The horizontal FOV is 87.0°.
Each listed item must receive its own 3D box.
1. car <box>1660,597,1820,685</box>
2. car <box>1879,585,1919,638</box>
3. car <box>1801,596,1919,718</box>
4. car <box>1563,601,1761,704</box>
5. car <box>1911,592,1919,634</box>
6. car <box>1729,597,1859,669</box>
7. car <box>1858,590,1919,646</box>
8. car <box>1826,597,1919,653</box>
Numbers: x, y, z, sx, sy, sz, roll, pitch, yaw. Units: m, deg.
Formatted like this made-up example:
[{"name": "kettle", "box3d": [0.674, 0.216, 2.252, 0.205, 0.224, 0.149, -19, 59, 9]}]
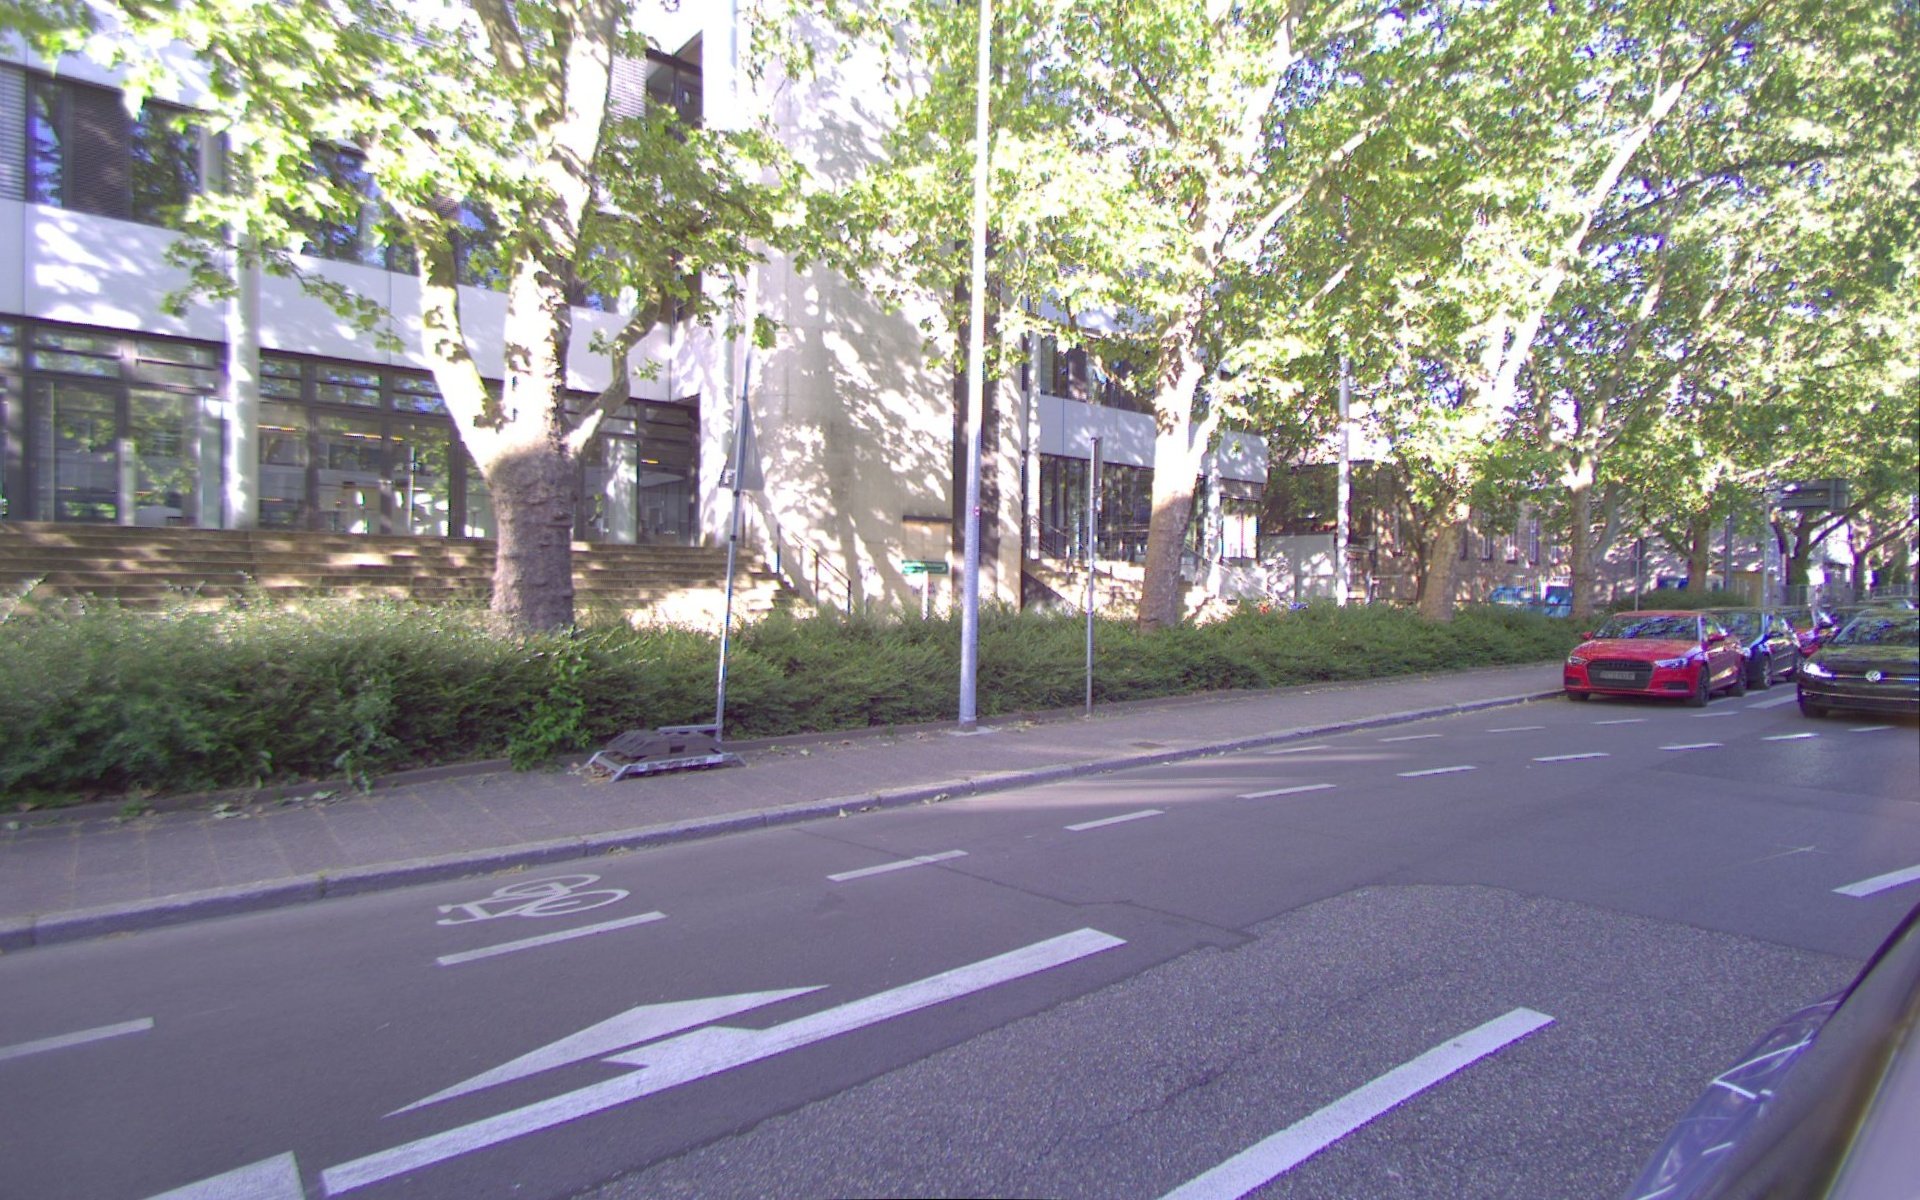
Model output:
[{"name": "car", "box3d": [14.806, 0.700, 19.141, 3.930, 1.485, 1.684, 0, 0, -41]}, {"name": "car", "box3d": [33.966, 0.384, 35.704, 4.354, 1.790, 1.818, 0, 1, -41]}, {"name": "car", "box3d": [12.852, 0.673, 13.408, 3.828, 1.459, 1.695, 0, 0, -35]}, {"name": "car", "box3d": [11.242, 0.751, 16.114, 3.962, 1.439, 1.722, 0, -2, -42]}, {"name": "car", "box3d": [38.704, 0.504, 39.721, 3.801, 1.581, 1.684, 0, 1, -41]}, {"name": "car", "box3d": [18.608, 0.670, 22.536, 3.715, 1.452, 1.664, 0, 1, -41]}, {"name": "car", "box3d": [29.512, 0.518, 31.649, 3.770, 1.640, 1.684, 0, 1, -41]}, {"name": "car", "box3d": [26.011, 0.649, 28.695, 3.930, 1.469, 1.684, 0, 1, -41]}]
